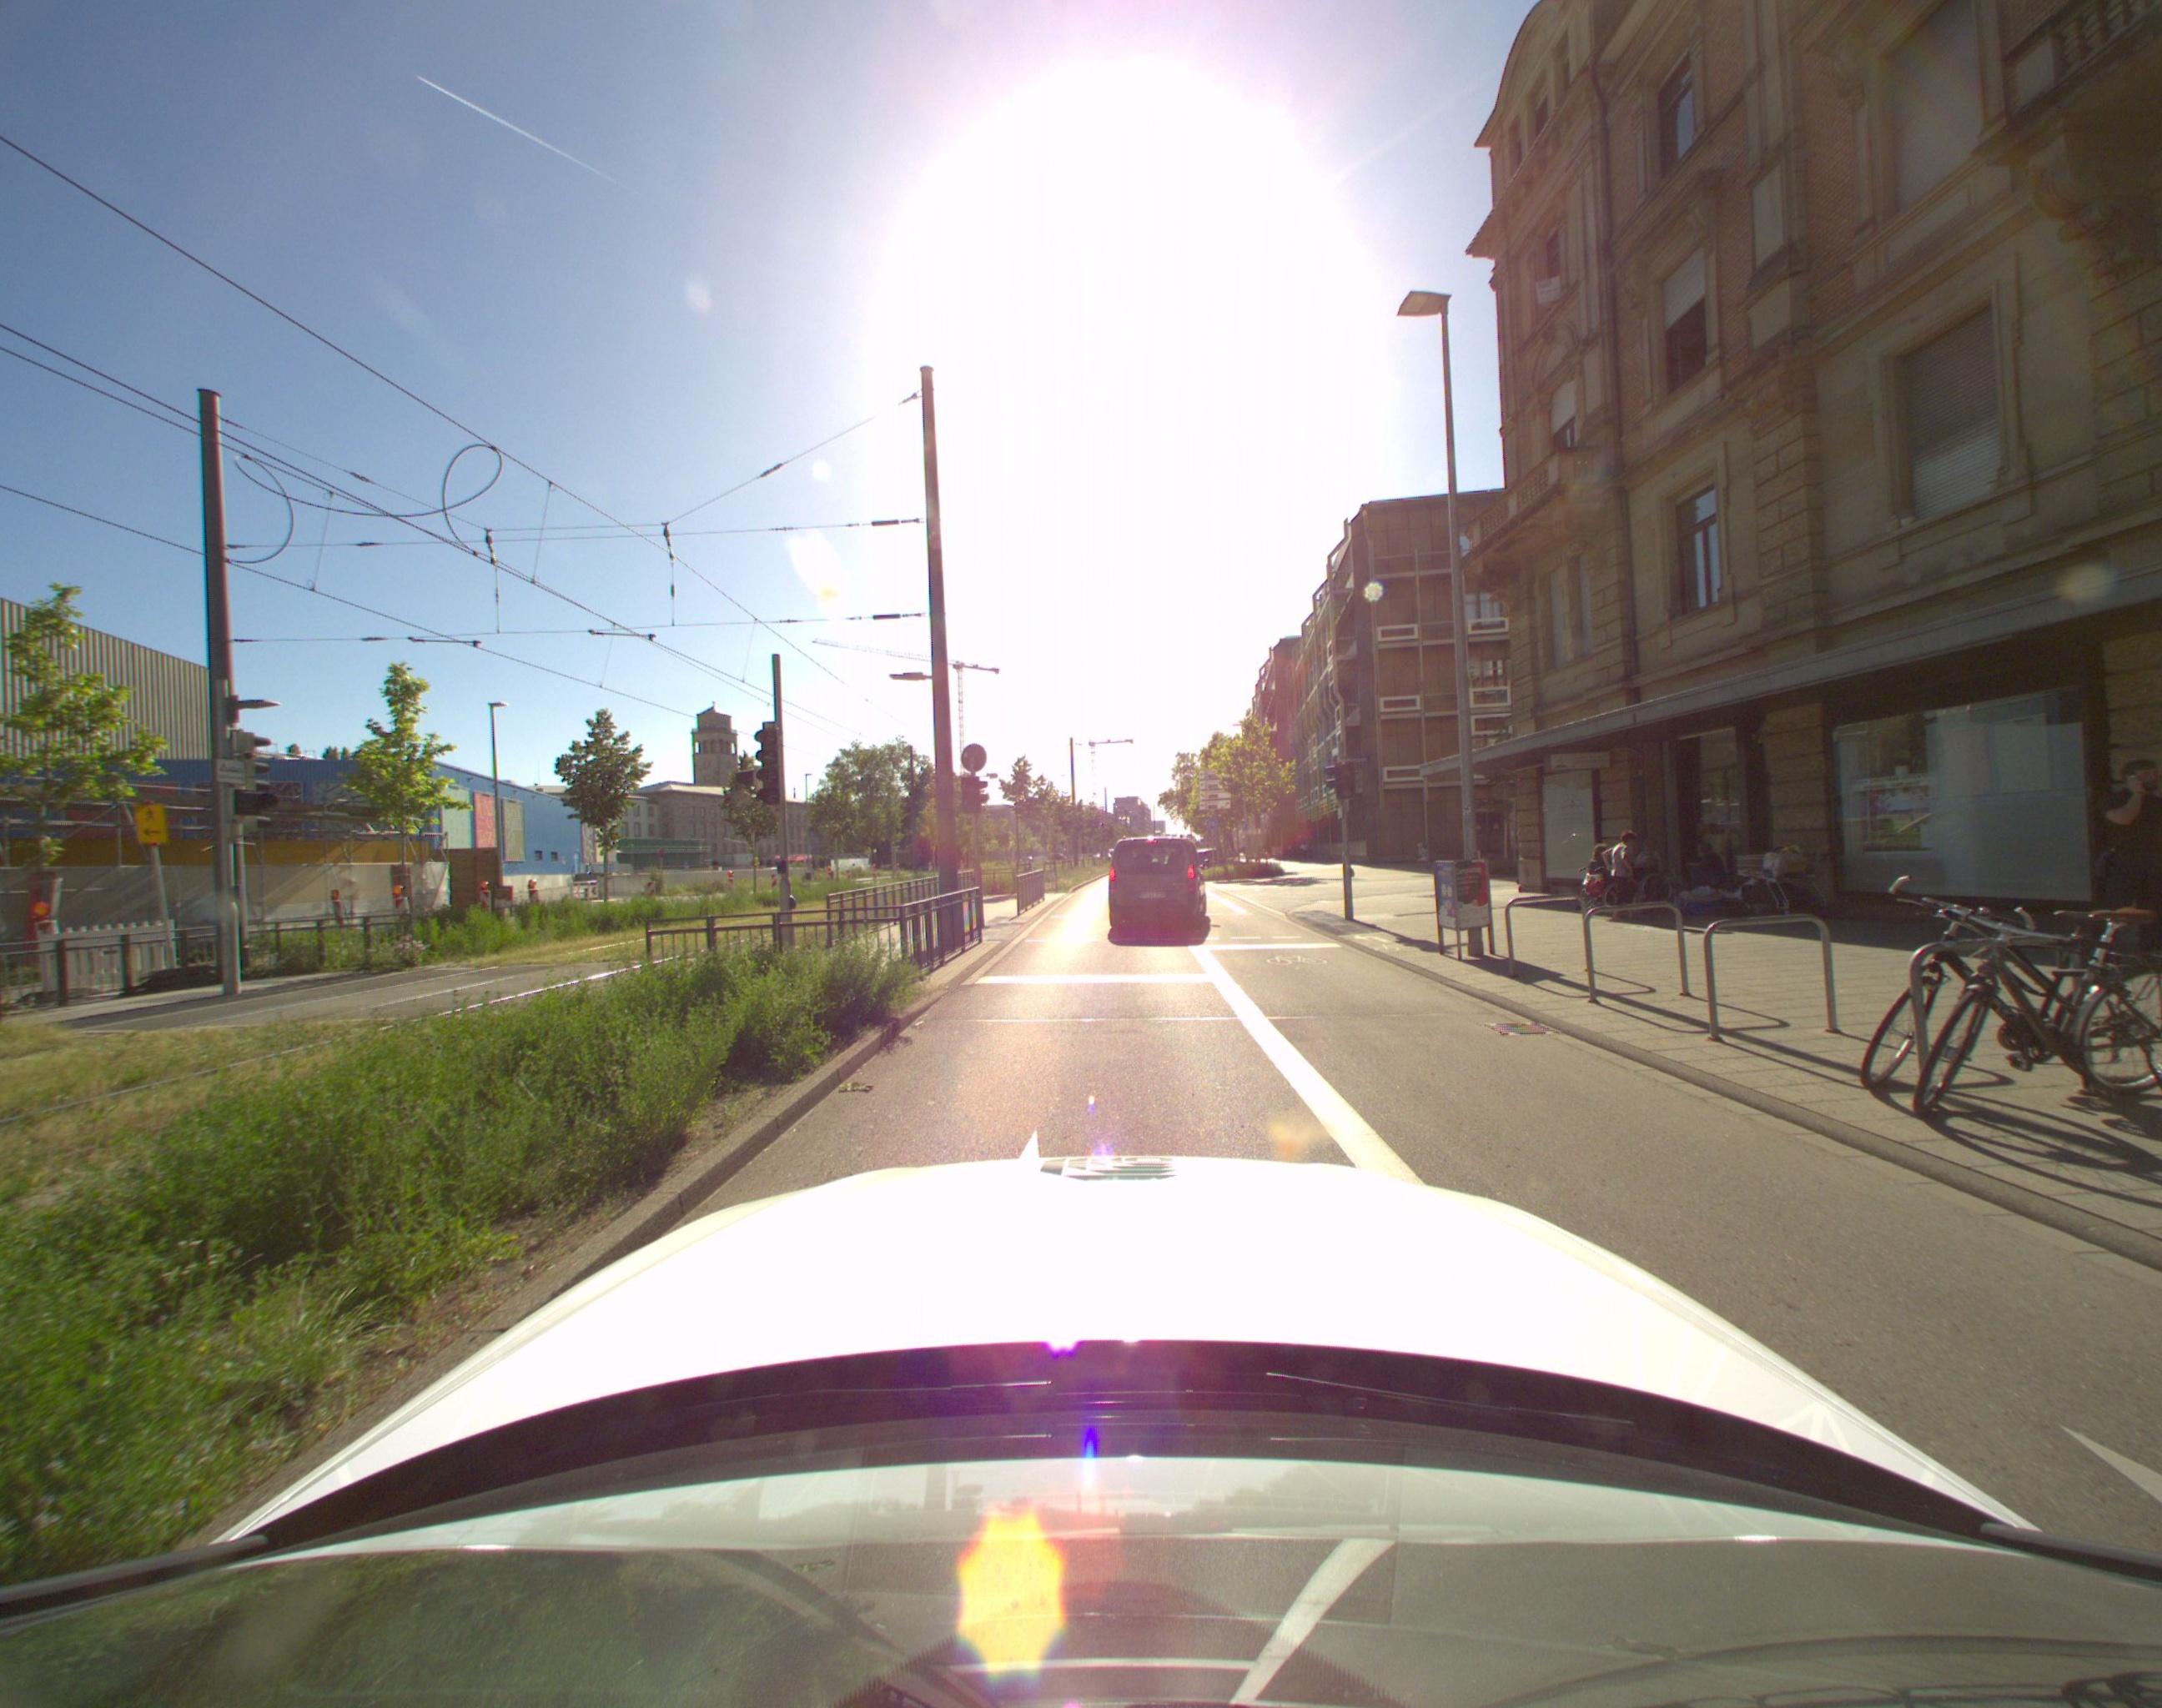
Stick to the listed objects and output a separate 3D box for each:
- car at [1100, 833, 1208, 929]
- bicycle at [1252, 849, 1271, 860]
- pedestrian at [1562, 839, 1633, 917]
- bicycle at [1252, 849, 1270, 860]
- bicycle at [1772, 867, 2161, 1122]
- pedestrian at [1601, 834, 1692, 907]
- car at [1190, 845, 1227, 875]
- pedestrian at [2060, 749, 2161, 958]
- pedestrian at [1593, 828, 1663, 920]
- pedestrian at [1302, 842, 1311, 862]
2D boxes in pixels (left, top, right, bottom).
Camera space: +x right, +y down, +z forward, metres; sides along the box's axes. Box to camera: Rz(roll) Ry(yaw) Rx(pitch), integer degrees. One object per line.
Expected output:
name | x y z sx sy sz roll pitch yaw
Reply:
car | 1.693 0.513 17.476 1.800 1.752 4.181 -2 0 11
bicycle | 18.994 0.050 85.628 1.846 0.939 0.428 -5 -1 10
pedestrian | 8.654 0.397 13.660 0.713 1.218 0.648 -4 -1 7
bicycle | 19.156 0.096 86.790 1.846 1.011 0.428 -5 -1 10
bicycle | 5.021 0.705 4.366 2.042 1.120 0.603 -4 -1 0
pedestrian | 10.210 0.299 14.742 1.068 1.218 0.703 -4 -1 1
car | 7.759 0.371 49.840 1.740 1.659 4.474 -2 0 3
pedestrian | 9.367 -0.006 7.303 0.508 1.801 0.502 -2 0 9
pedestrian | 8.708 0.310 12.980 0.571 1.394 0.648 -4 -1 0
pedestrian | 18.402 -0.179 66.546 0.508 1.622 0.675 -5 -1 9
